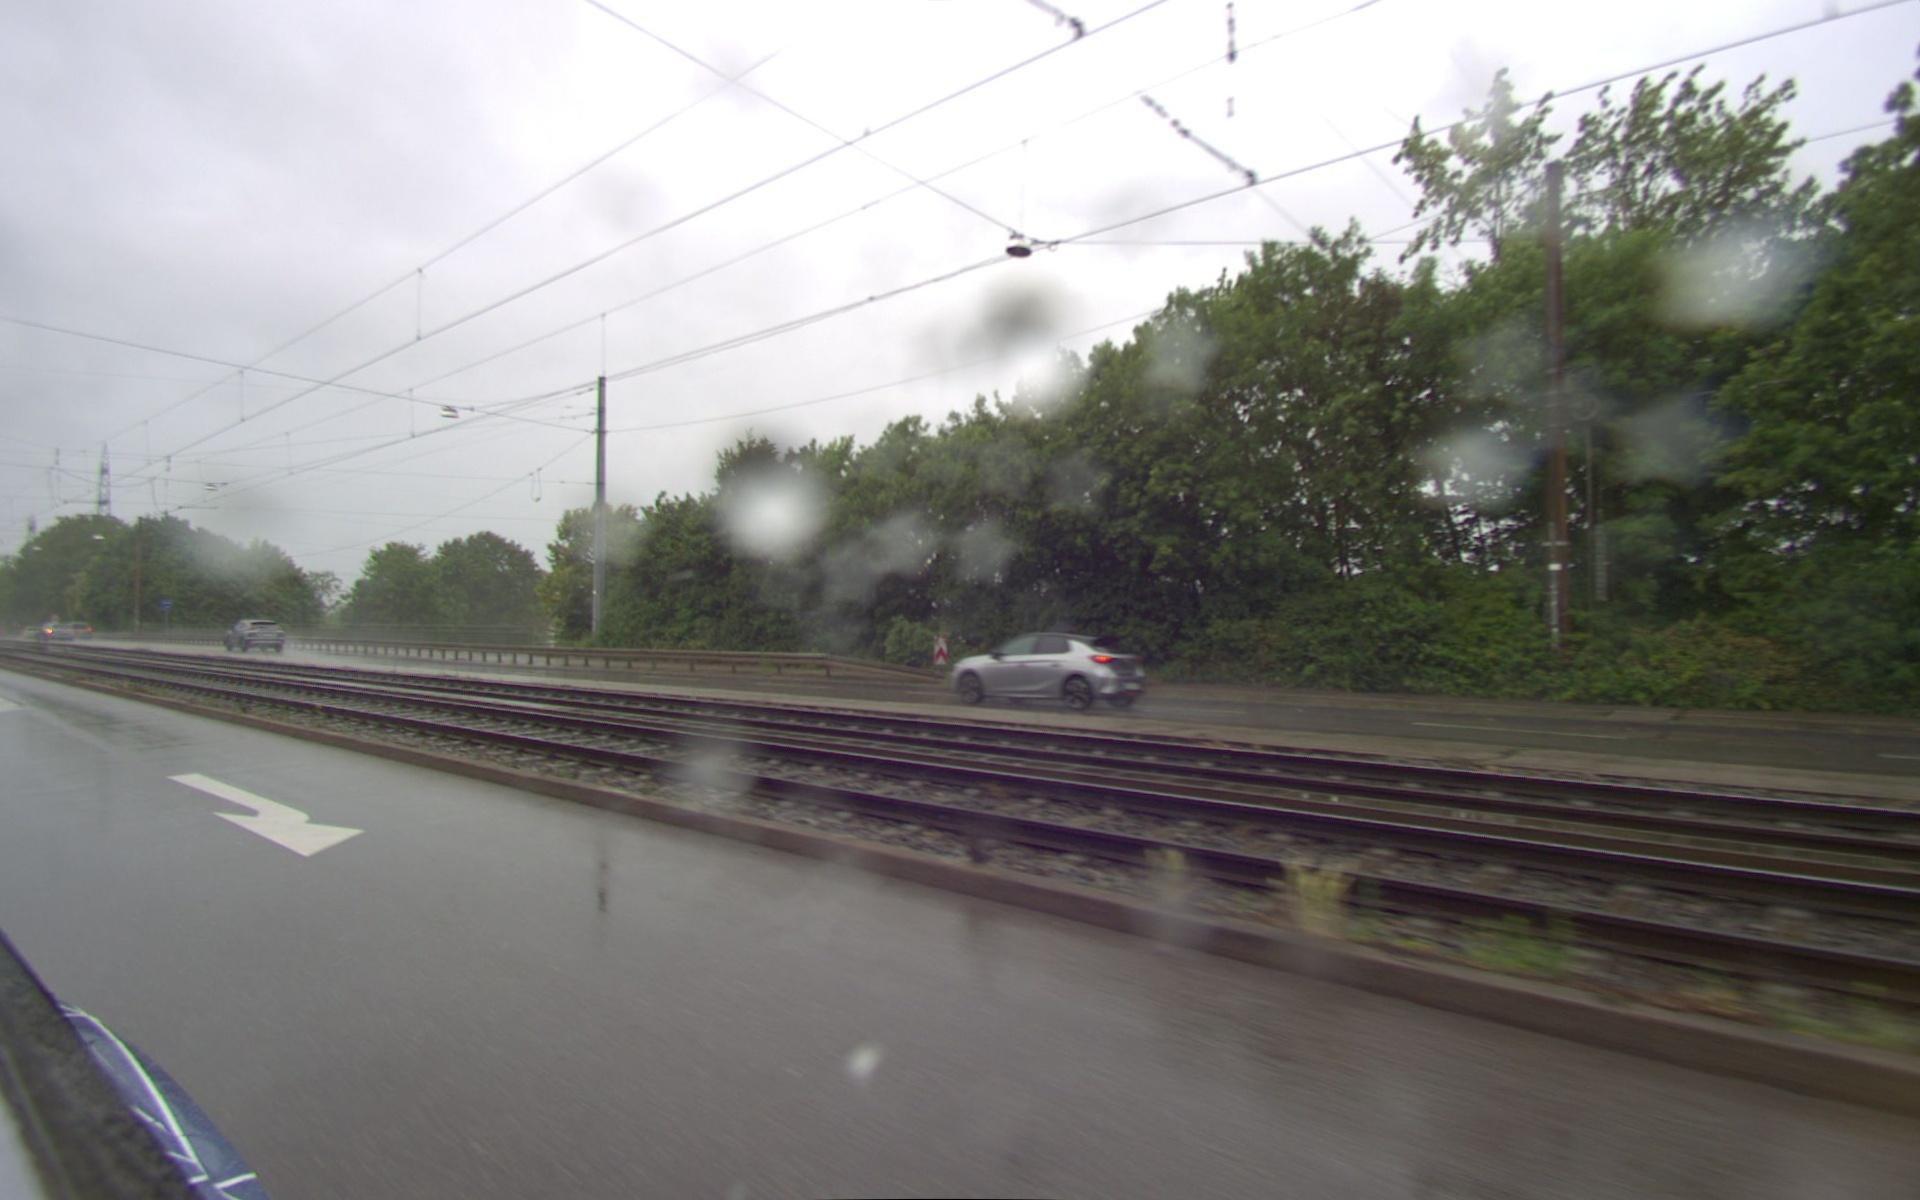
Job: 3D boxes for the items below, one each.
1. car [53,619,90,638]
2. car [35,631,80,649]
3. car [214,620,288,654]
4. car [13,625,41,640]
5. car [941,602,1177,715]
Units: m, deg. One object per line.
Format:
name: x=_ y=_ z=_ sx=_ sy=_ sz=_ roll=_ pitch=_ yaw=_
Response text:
car: x=-76.658 y=2.418 z=87.339 sx=4.383 sy=1.586 sz=1.822 roll=-1 pitch=-1 yaw=41
car: x=-71.556 y=3.150 z=80.219 sx=4.849 sy=1.399 sz=1.973 roll=-2 pitch=-2 yaw=40
car: x=-37.311 y=1.940 z=53.229 sx=4.868 sy=1.685 sz=1.973 roll=-2 pitch=-2 yaw=40
car: x=-103.294 y=3.604 z=112.052 sx=3.998 sy=1.606 sz=1.827 roll=-1 pitch=-1 yaw=41
car: x=1.831 y=1.049 z=19.313 sx=3.997 sy=1.796 sz=1.974 roll=-2 pitch=2 yaw=40
